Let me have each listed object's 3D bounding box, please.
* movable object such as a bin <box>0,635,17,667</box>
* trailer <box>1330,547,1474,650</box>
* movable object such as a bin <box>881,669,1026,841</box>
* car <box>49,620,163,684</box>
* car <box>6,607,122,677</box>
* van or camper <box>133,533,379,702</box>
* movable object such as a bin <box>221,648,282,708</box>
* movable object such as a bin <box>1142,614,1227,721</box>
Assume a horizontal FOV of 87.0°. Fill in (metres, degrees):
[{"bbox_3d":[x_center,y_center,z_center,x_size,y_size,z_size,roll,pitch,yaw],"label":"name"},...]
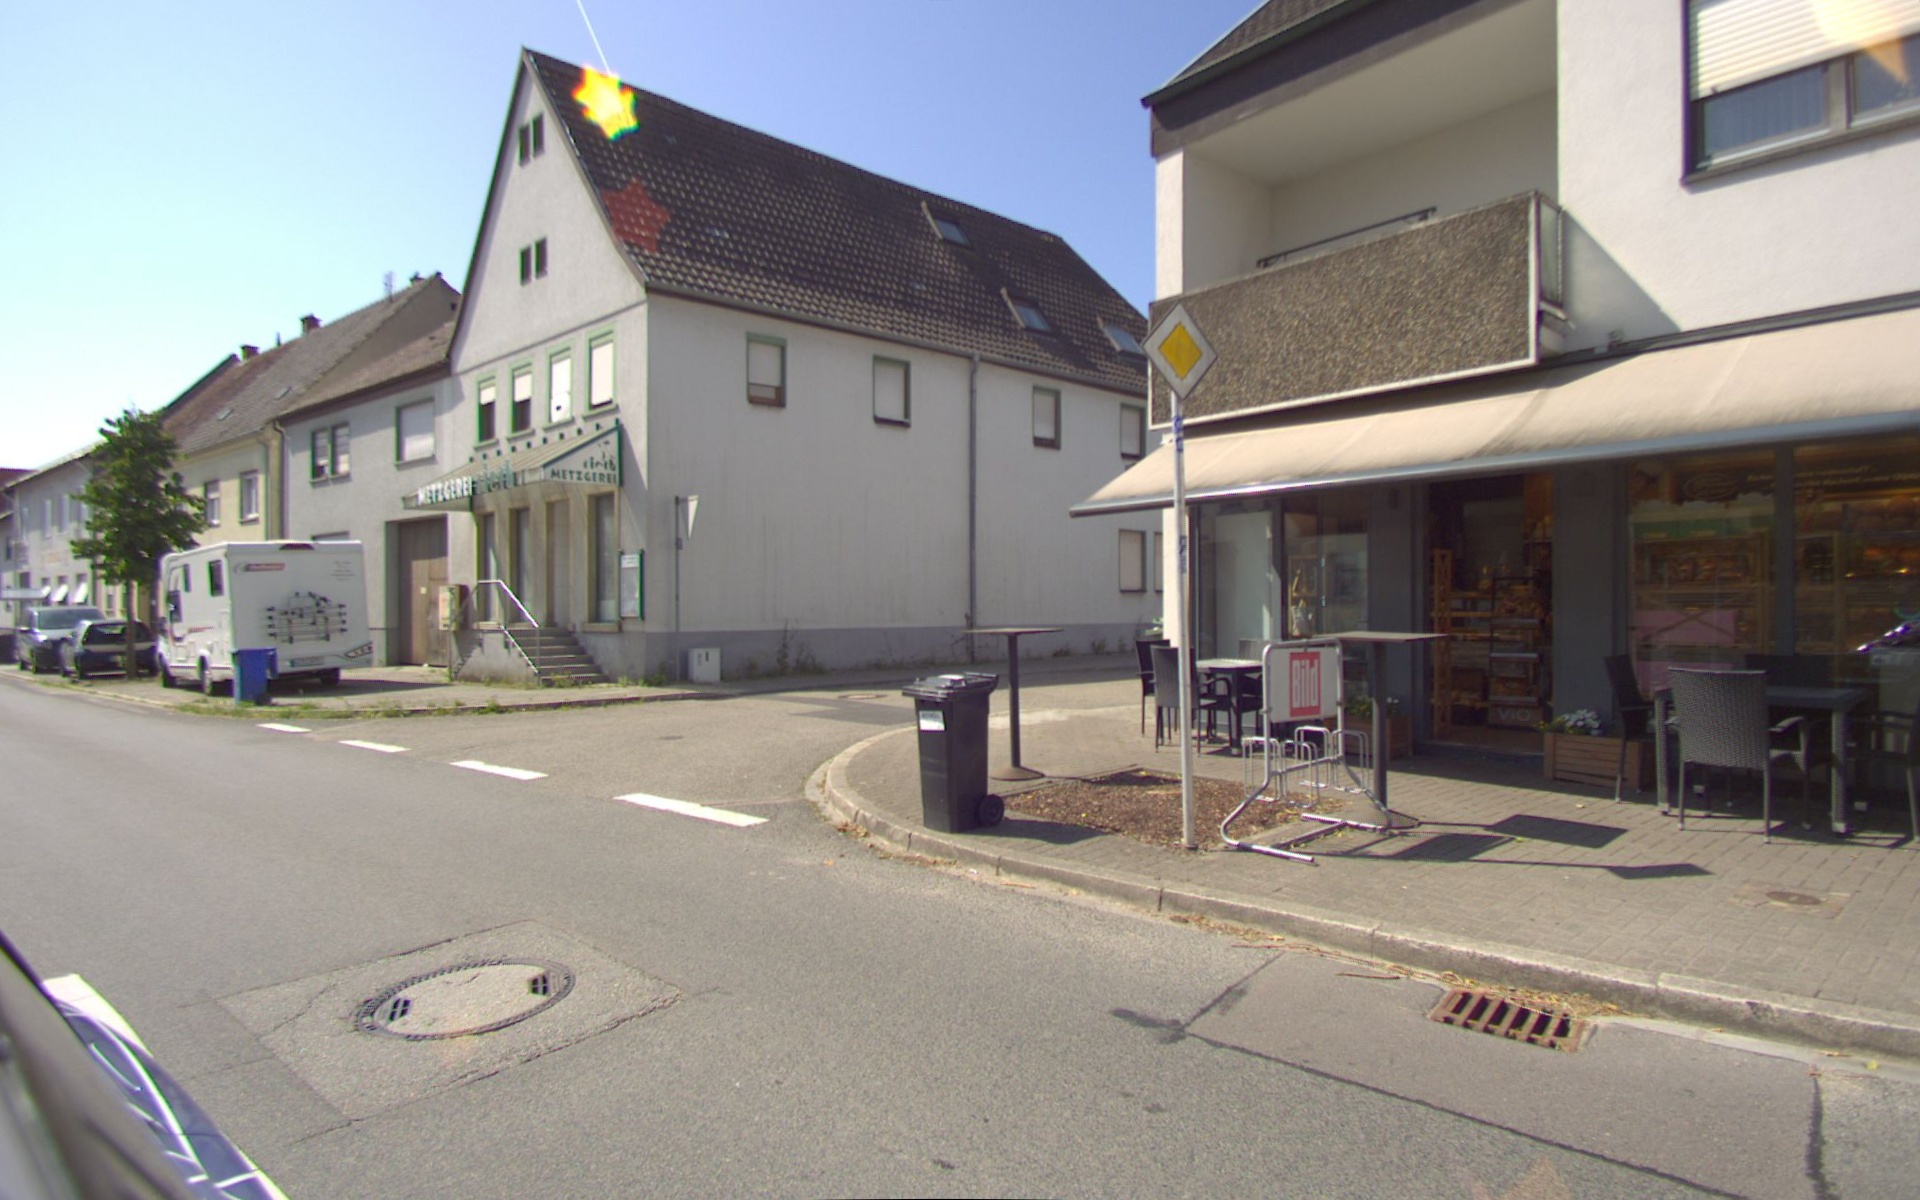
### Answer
[{"bbox_3d":[-32.592,1.730,34.388,0.549,1.075,0.710,-1,-1,38],"label":"movable object such as a bin"},{"bbox_3d":[12.483,-0.054,28.510,3.935,2.693,2.062,0,0,-37],"label":"trailer"},{"bbox_3d":[-0.037,0.909,6.197,0.613,0.931,0.636,-2,-1,39],"label":"movable object such as a bin"},{"bbox_3d":[-22.148,1.297,26.201,3.615,1.493,1.668,-1,-1,40],"label":"car"},{"bbox_3d":[-26.329,1.190,29.678,4.955,1.862,1.972,-1,-1,42],"label":"car"},{"bbox_3d":[-14.610,0.360,20.758,7.062,2.927,2.421,-1,-1,40],"label":"van or camper"},{"bbox_3d":[-11.037,1.201,15.777,0.613,0.878,0.636,-1,-1,39],"label":"movable object such as a bin"},{"bbox_3d":[2.515,0.738,11.353,0.663,1.146,0.646,0,-1,-39],"label":"movable object such as a bin"}]
